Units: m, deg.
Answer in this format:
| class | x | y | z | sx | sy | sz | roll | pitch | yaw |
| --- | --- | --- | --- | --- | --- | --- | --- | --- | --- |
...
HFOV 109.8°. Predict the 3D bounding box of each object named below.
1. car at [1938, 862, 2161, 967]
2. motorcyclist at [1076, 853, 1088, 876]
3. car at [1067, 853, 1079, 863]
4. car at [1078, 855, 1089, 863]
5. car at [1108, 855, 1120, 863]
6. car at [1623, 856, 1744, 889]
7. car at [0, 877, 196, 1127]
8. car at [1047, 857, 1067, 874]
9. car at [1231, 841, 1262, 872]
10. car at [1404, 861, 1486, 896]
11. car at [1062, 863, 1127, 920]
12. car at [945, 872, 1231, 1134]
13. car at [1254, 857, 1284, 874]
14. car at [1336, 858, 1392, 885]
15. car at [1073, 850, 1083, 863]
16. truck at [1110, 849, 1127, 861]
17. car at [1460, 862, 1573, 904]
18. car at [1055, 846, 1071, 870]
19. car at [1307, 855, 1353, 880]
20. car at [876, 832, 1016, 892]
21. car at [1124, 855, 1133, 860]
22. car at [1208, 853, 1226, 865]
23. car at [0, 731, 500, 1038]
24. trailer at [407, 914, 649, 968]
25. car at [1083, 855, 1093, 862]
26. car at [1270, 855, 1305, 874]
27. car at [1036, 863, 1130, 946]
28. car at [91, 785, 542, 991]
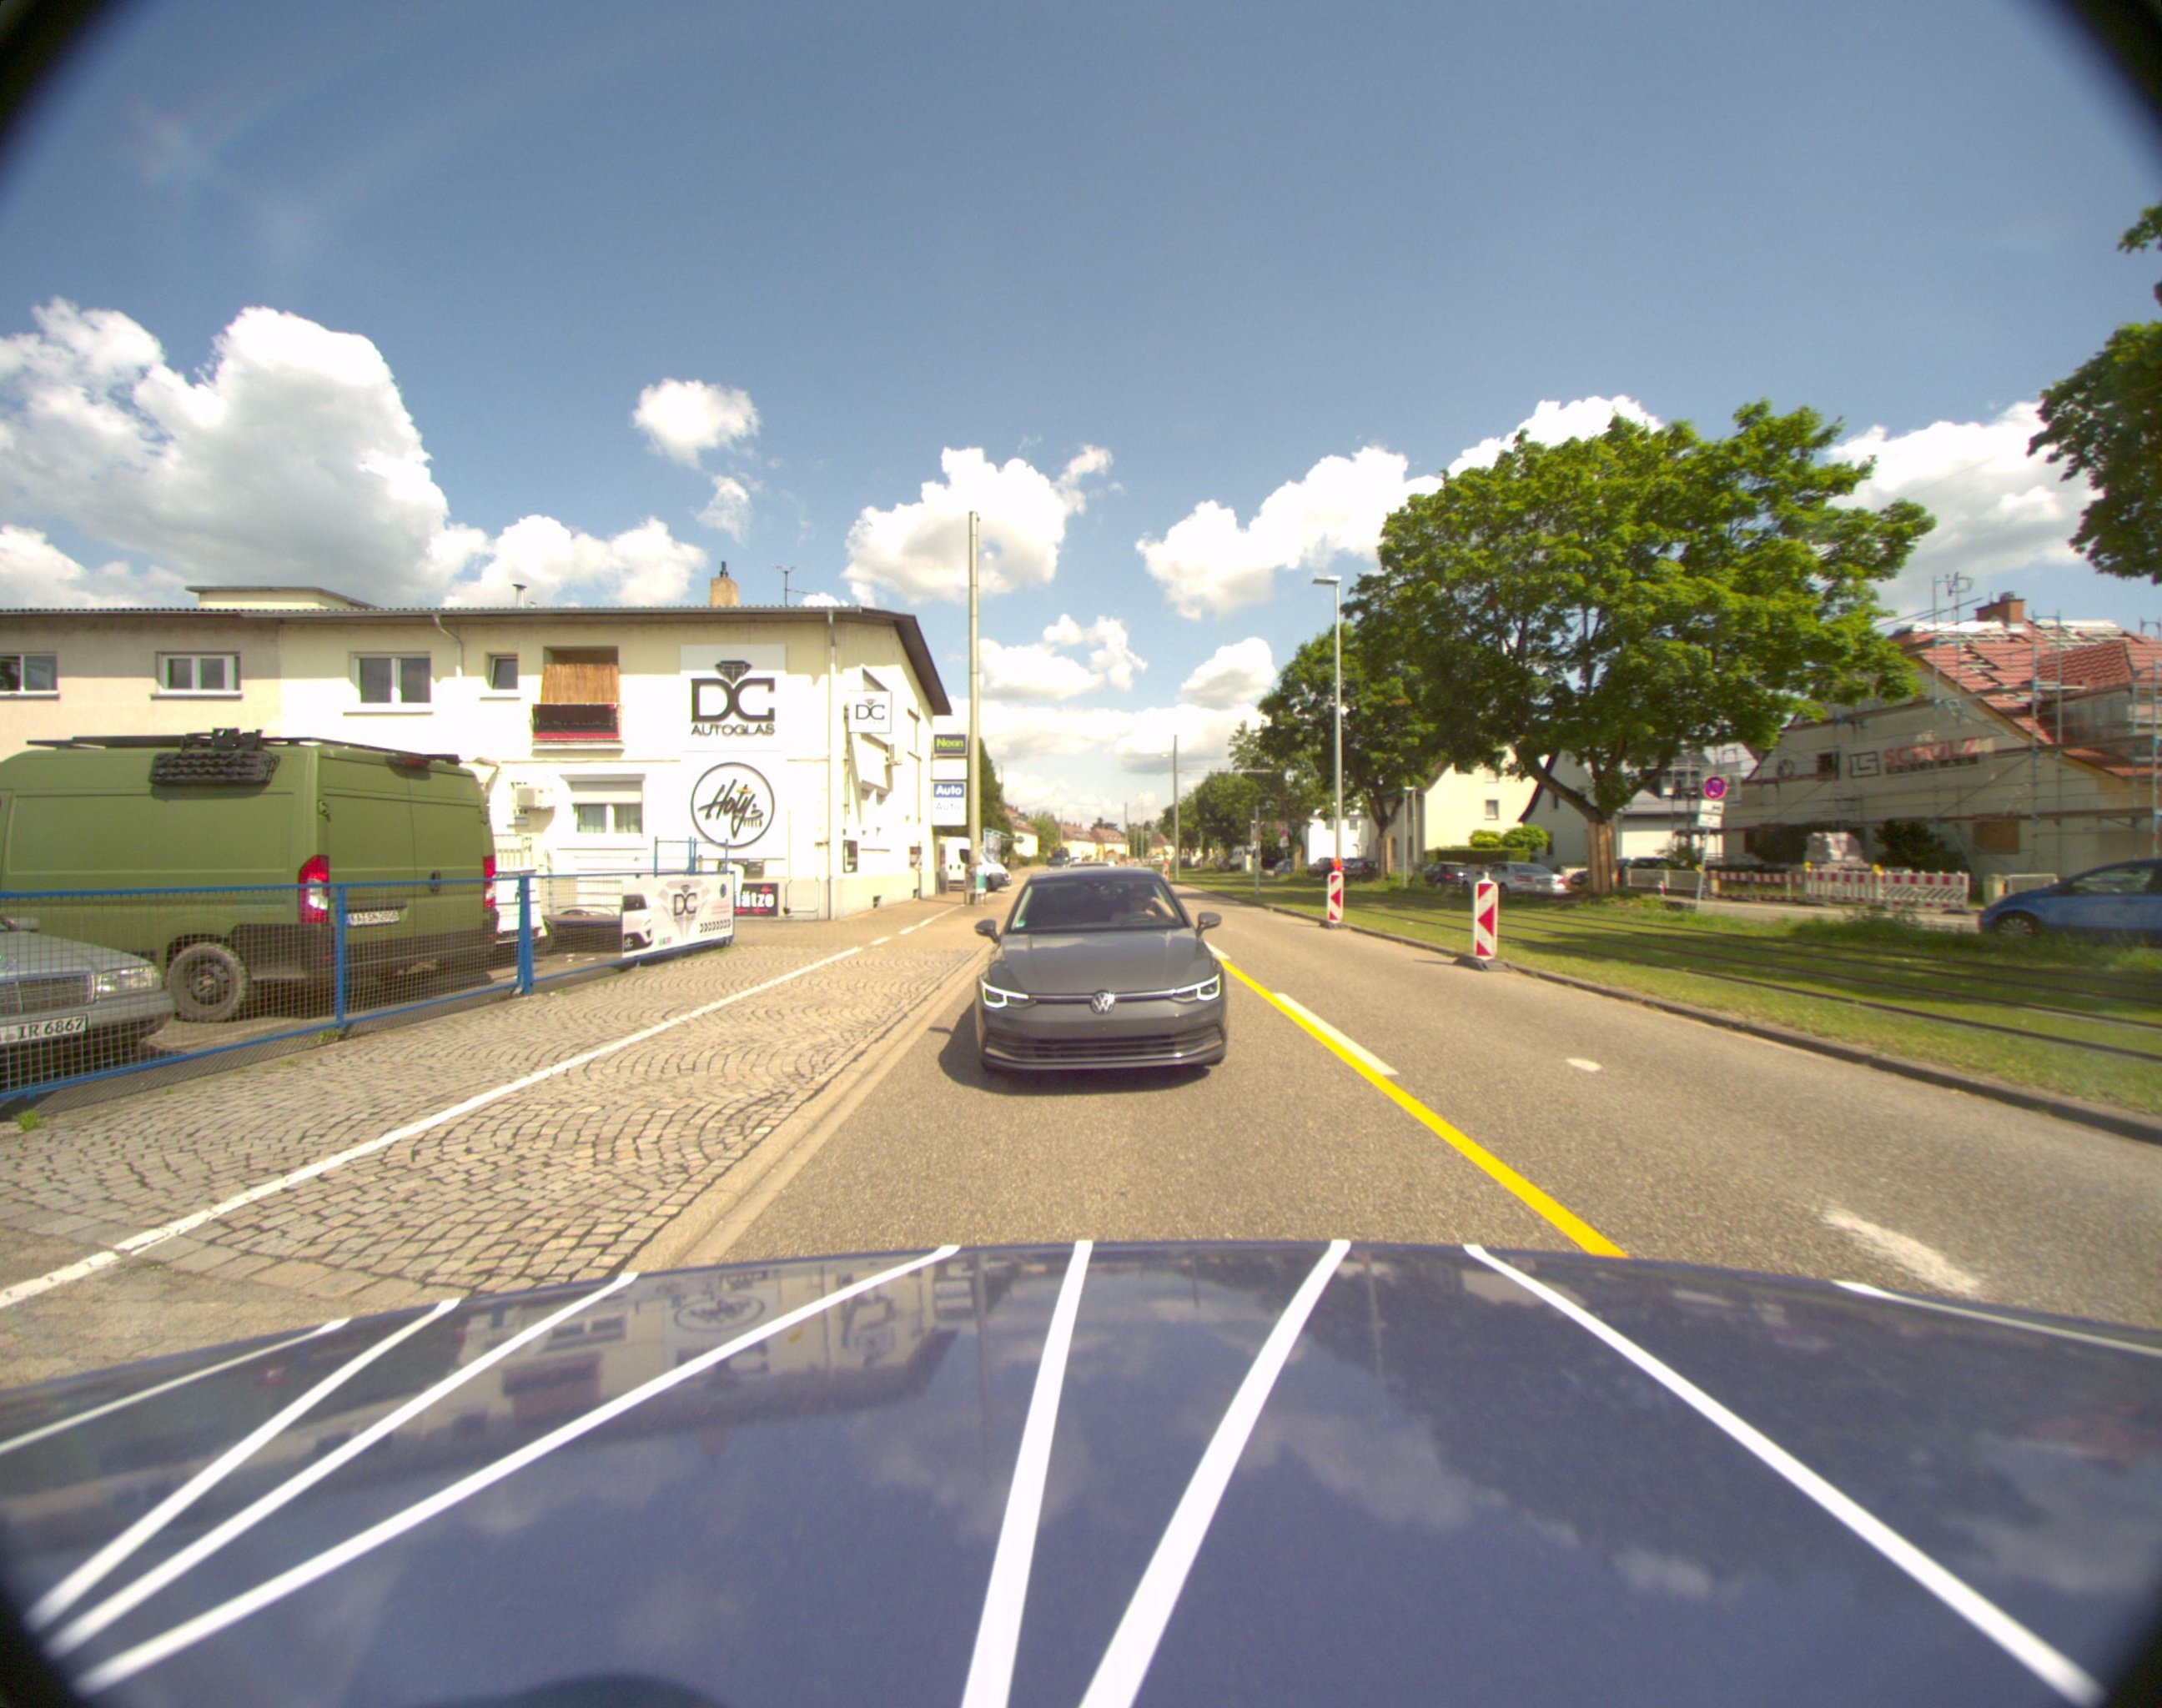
| class | x | y | z | sx | sy | sz | roll | pitch | yaw |
| --- | --- | --- | --- | --- | --- | --- | --- | --- | --- |
| car | 16.209 | 0.868 | 11.413 | 1.702 | 1.477 | 4.407 | -1 | -1 | 1 |
| motorcyclist | 0.063 | 0.609 | 44.049 | 0.659 | 1.284 | 0.779 | 0 | 0 | -1 |
| car | -1.349 | 0.676 | 123.051 | 1.701 | 1.574 | 4.001 | 0 | 0 | 3 |
| car | 0.447 | 0.907 | 146.718 | 1.701 | 1.574 | 4.002 | 0 | 0 | 6 |
| car | 6.097 | 0.948 | 140.569 | 2.118 | 1.477 | 4.406 | 0 | 0 | 2 |
| car | 28.888 | 0.894 | 36.528 | 4.402 | 1.477 | 1.704 | -1 | -1 | 1 |
| car | -8.471 | 0.889 | 4.783 | 4.282 | 1.444 | 1.713 | 0 | 0 | 8 |
| car | -2.210 | 1.049 | 70.765 | 1.702 | 1.574 | 4.000 | 0 | 0 | 1 |
| car | 16.791 | 0.277 | 77.286 | 2.136 | 3.019 | 5.084 | -1 | -1 | 1 |
| car | 16.607 | 1.123 | 34.952 | 1.702 | 1.477 | 4.407 | -1 | -1 | 1 |
| car | 0.386 | 1.012 | 22.209 | 1.702 | 1.477 | 4.000 | 0 | 0 | 1 |
| car | 0.068 | 0.937 | 6.537 | 1.702 | 1.477 | 4.000 | 0 | 0 | 1 |
| car | 17.621 | 1.081 | 71.341 | 1.702 | 1.477 | 4.407 | -1 | -1 | 1 |
| car | 16.751 | 1.038 | 45.169 | 1.702 | 1.477 | 4.407 | -1 | -1 | 1 |
| car | -0.531 | 0.424 | 136.221 | 1.701 | 2.233 | 4.947 | 0 | 0 | 2 |
| truck | 9.864 | 0.149 | 201.064 | 2.710 | 3.119 | 8.124 | 0 | 0 | 15 |
| car | 16.438 | 1.069 | 28.988 | 1.788 | 1.477 | 4.523 | -1 | -1 | 2 |
| car | -1.940 | 0.452 | 82.450 | 1.702 | 2.510 | 5.144 | 0 | 0 | 0 |
| car | 16.533 | 0.902 | 50.675 | 1.702 | 1.562 | 4.407 | -1 | -1 | 1 |
| car | -5.960 | 0.363 | 34.040 | 5.836 | 2.449 | 2.092 | 2 | 0 | 1 |
| car | 13.770 | 0.951 | 218.696 | 1.700 | 1.574 | 4.005 | 0 | 0 | 16 |
| car | 18.739 | 0.679 | 104.747 | 1.701 | 1.477 | 4.407 | -1 | -1 | 2 |
| car | -8.738 | 0.272 | 7.619 | 4.207 | 2.627 | 2.113 | 0 | 0 | 2 |
| trailer | -8.381 | 1.307 | 11.669 | 2.733 | 0.662 | 1.329 | 0 | 0 | -1 |
| car | 1.403 | 0.910 | 155.849 | 1.701 | 1.574 | 4.002 | 0 | 0 | 7 |
| car | 16.621 | 0.879 | 61.296 | 1.702 | 1.477 | 4.407 | -1 | -1 | 1 |
| car | 0.065 | 0.942 | 15.817 | 1.702 | 1.477 | 4.000 | 0 | 0 | 1 |
| car | -9.516 | 0.403 | 9.671 | 4.207 | 2.392 | 1.586 | 0 | 0 | 2 |
